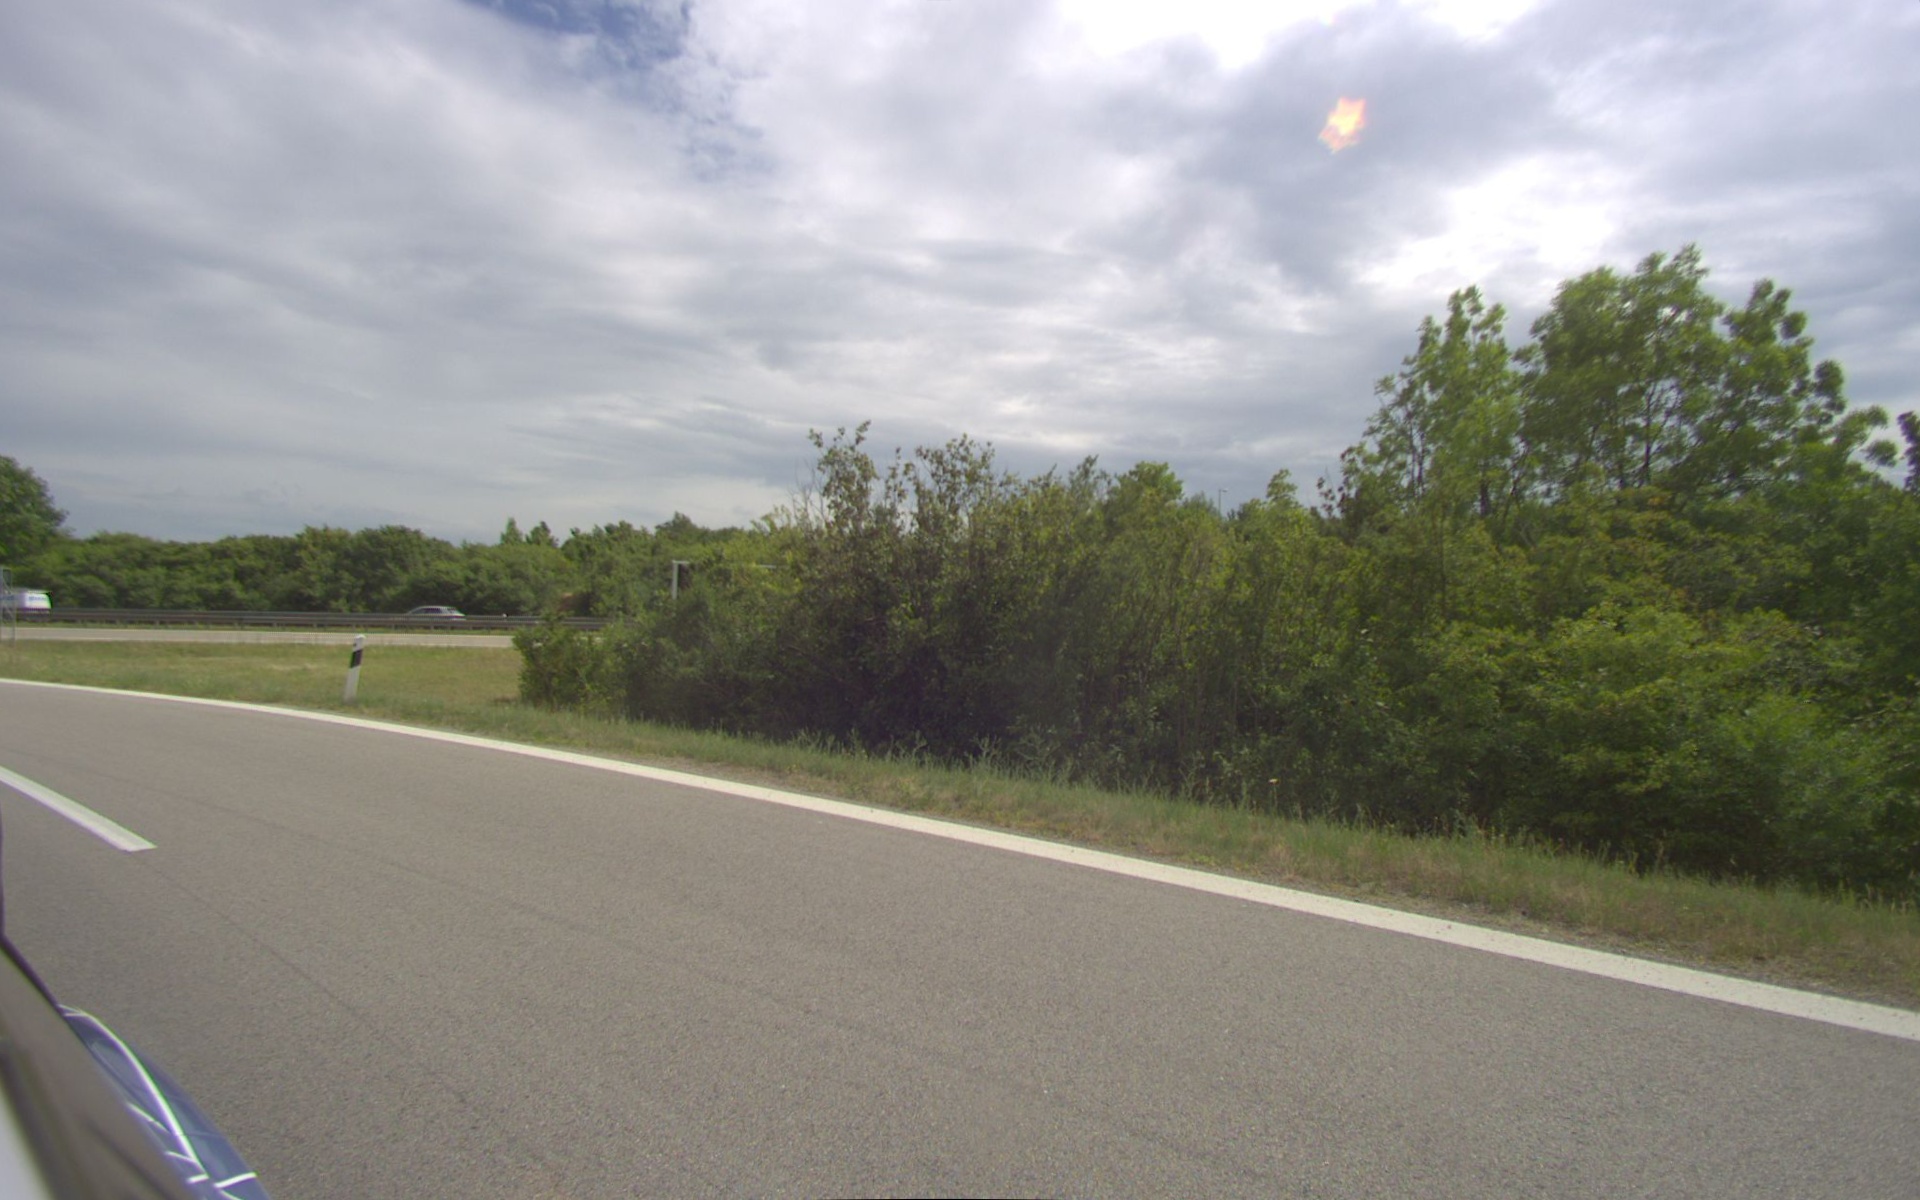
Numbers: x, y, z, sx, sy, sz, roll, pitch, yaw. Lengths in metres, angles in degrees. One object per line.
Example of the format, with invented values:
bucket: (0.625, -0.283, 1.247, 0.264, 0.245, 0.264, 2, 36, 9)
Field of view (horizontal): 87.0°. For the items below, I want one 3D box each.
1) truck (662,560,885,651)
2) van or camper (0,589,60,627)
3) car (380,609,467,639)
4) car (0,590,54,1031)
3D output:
truck: (-7.640, 0.211, 42.369, 8.819, 3.614, 2.893, 1, 0, -1)
van or camper: (-56.226, 0.412, 57.854, 7.227, 2.145, 2.232, 1, -2, -5)
car: (-31.006, 1.383, 58.597, 3.942, 1.586, 2.001, 2, -2, -2)
car: (-5.591, 0.739, 4.311, 4.535, 1.526, 1.973, 0, 0, 40)
